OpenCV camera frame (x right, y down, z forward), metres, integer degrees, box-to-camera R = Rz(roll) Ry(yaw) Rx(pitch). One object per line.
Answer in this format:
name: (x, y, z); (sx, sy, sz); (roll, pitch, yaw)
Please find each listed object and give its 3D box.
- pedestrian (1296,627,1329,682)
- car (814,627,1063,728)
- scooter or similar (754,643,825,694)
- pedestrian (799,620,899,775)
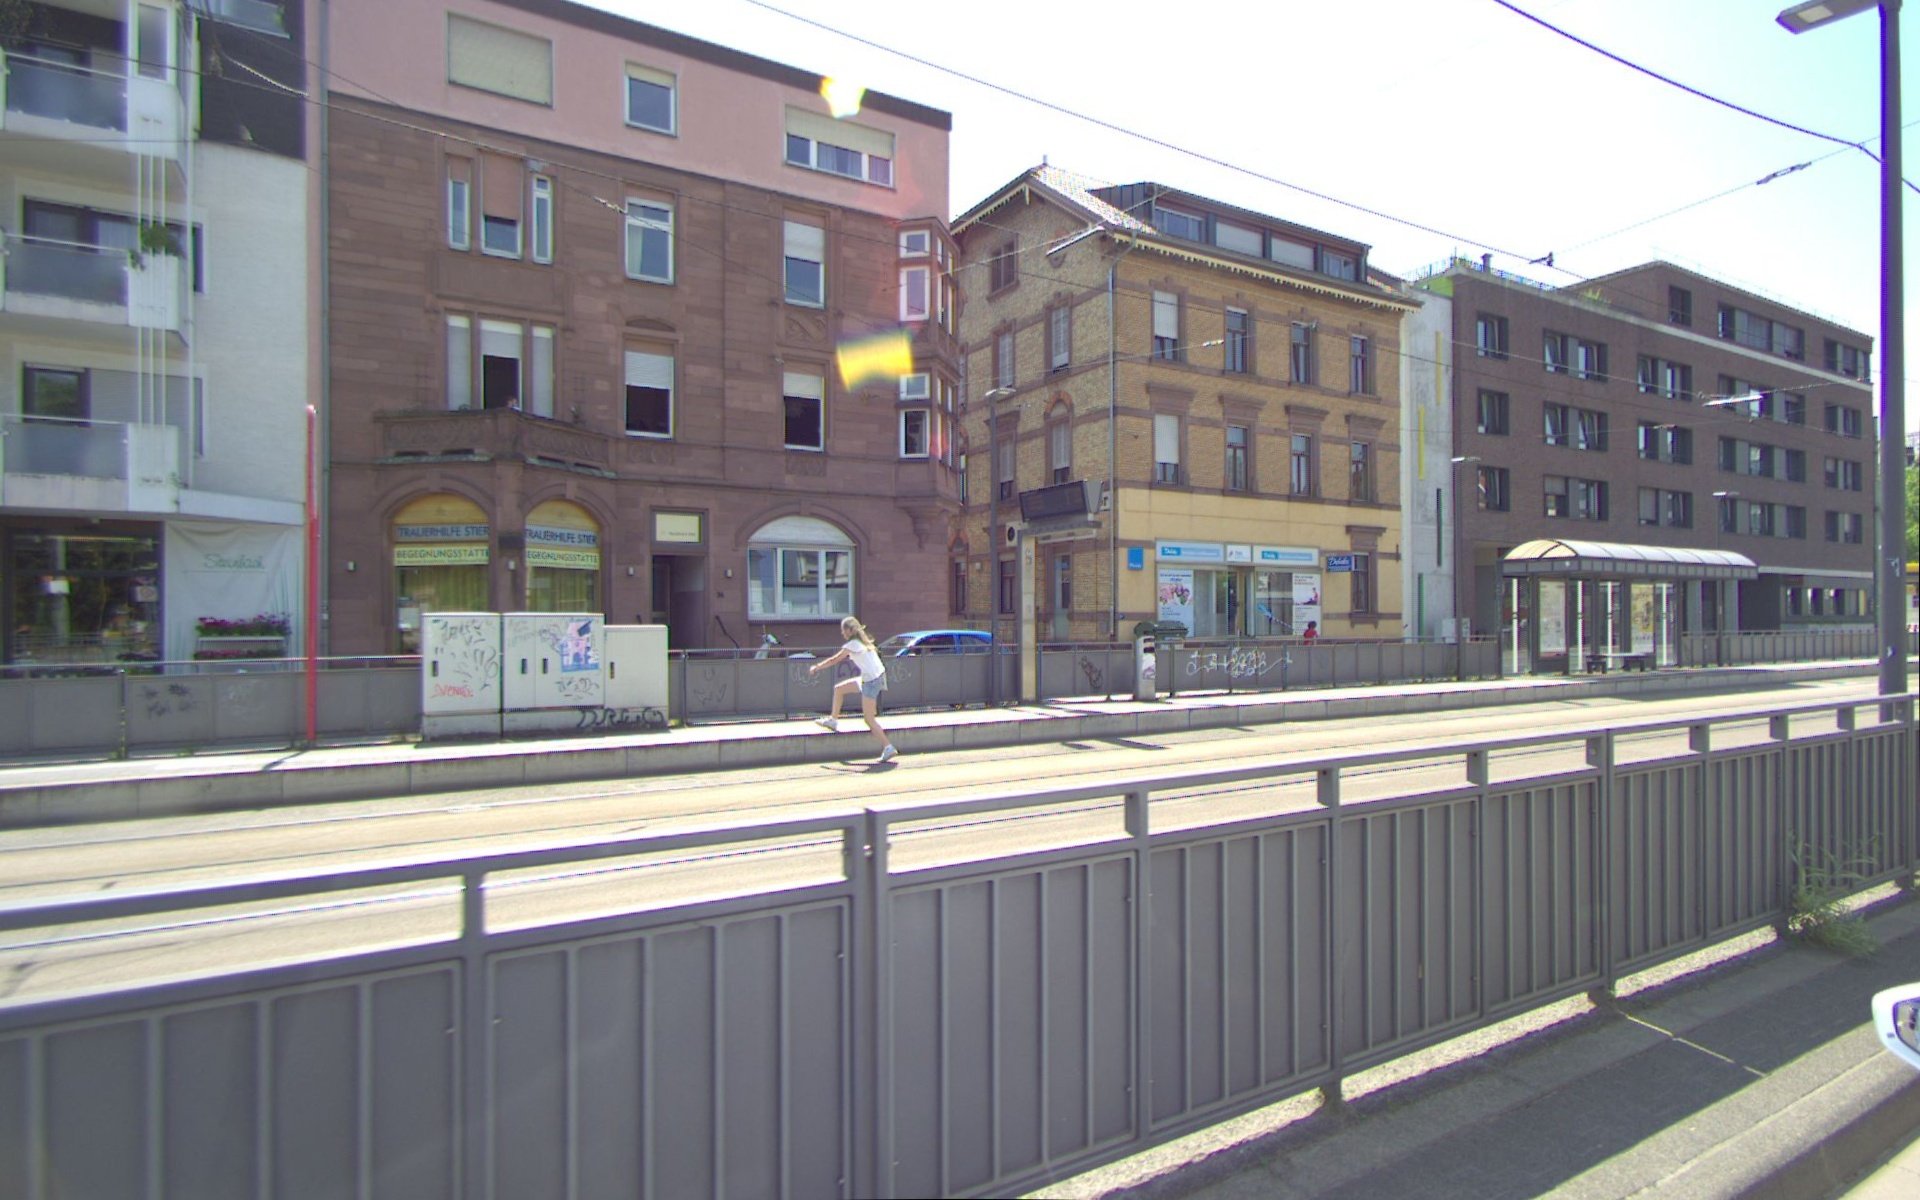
pedestrian: (10.308, 1.584, 29.387); (0.633, 1.581, 0.611); (0, -1, -31)
car: (-0.378, 1.292, 17.792); (3.950, 1.528, 1.986); (0, -2, -28)
scooter or similar: (-3.898, 1.557, 22.957); (1.550, 1.096, 0.488); (-1, -1, -14)
pedestrian: (-1.295, 1.090, 11.573); (1.081, 1.696, 0.764); (0, -1, -12)
